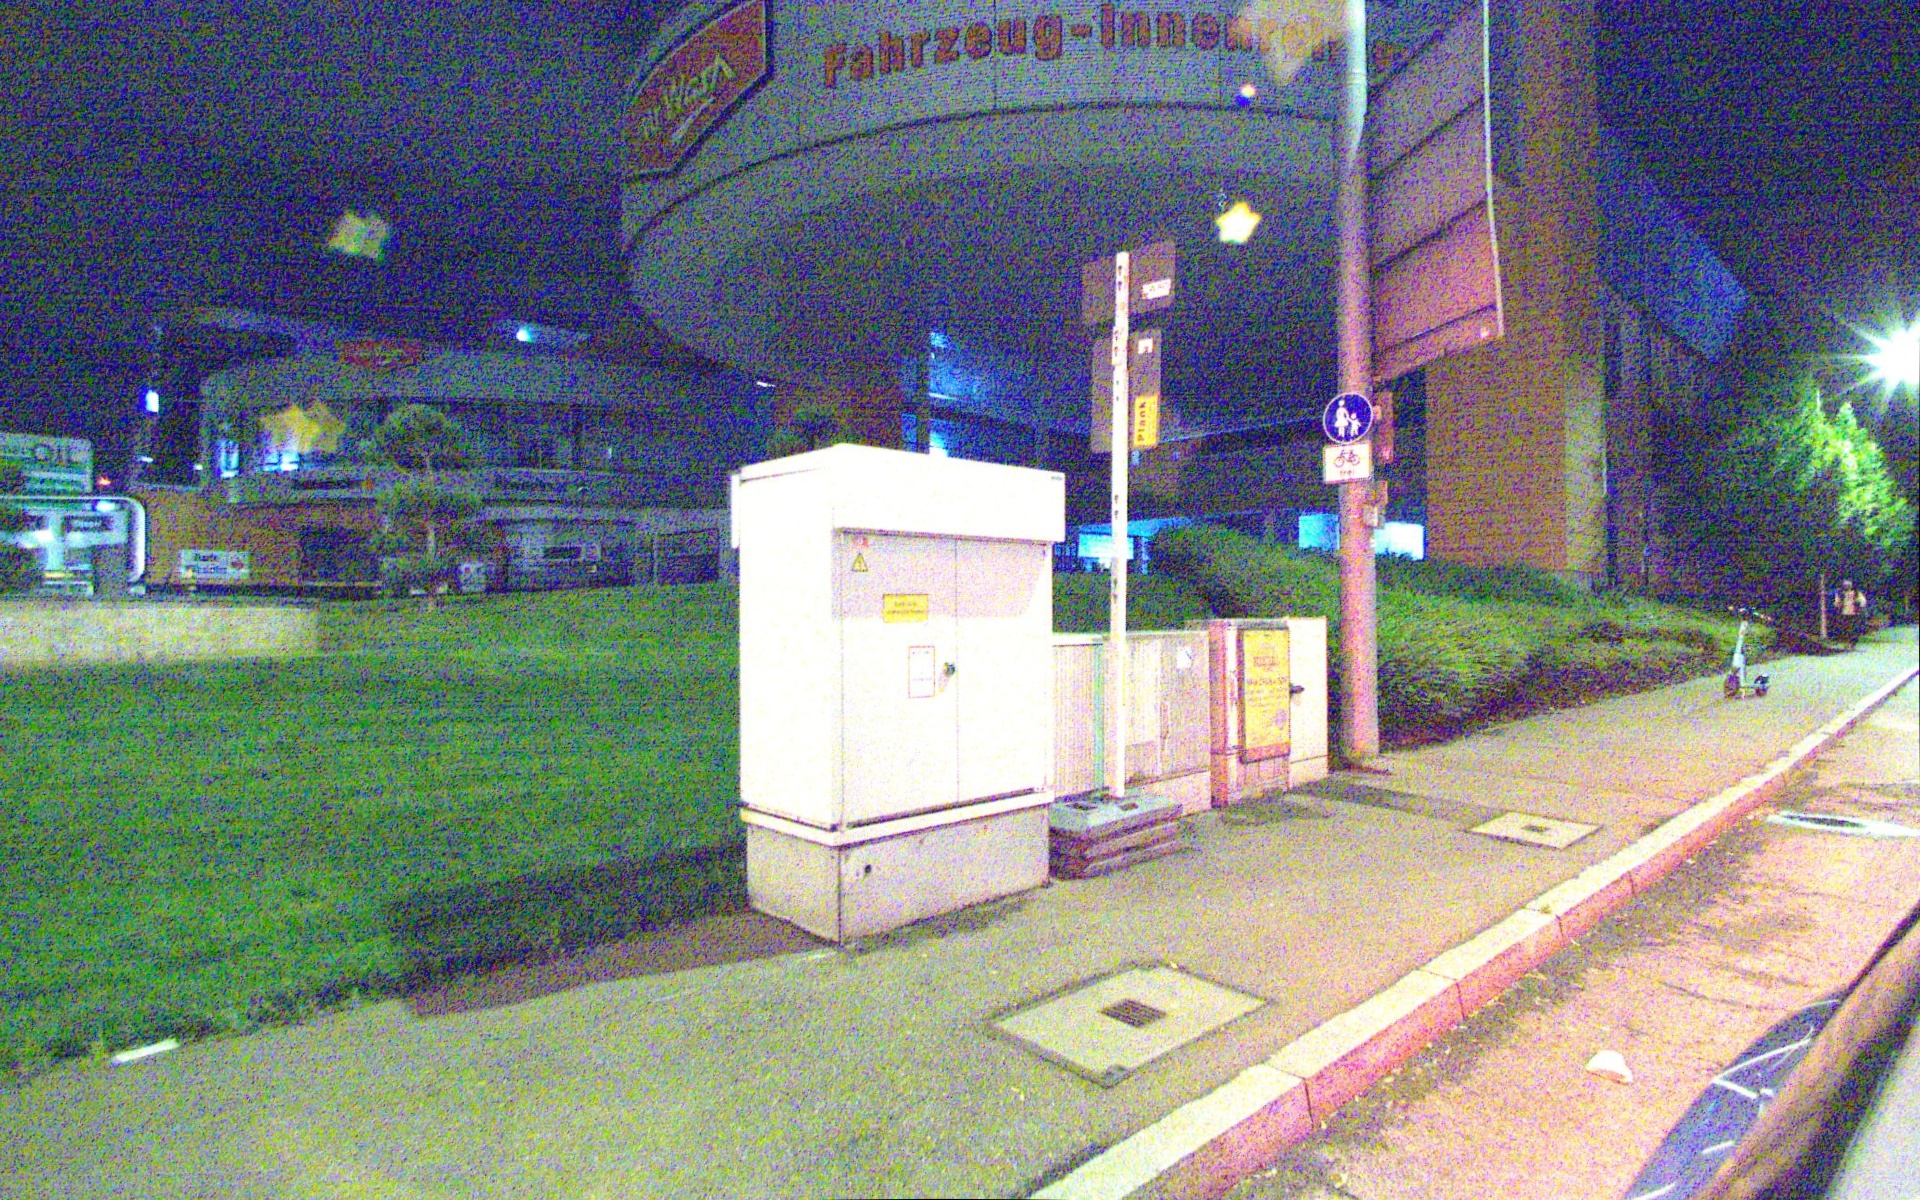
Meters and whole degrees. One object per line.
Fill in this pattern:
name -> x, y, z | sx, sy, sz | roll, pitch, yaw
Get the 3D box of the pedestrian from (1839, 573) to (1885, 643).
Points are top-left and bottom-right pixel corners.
pedestrian -> 24.348, 0.212, 27.314 | 0.597, 1.842, 0.824 | -1, 0, -40

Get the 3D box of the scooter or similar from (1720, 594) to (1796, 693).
scooter or similar -> 11.182, 0.581, 14.174 | 1.367, 1.295, 0.569 | 0, 1, -41
